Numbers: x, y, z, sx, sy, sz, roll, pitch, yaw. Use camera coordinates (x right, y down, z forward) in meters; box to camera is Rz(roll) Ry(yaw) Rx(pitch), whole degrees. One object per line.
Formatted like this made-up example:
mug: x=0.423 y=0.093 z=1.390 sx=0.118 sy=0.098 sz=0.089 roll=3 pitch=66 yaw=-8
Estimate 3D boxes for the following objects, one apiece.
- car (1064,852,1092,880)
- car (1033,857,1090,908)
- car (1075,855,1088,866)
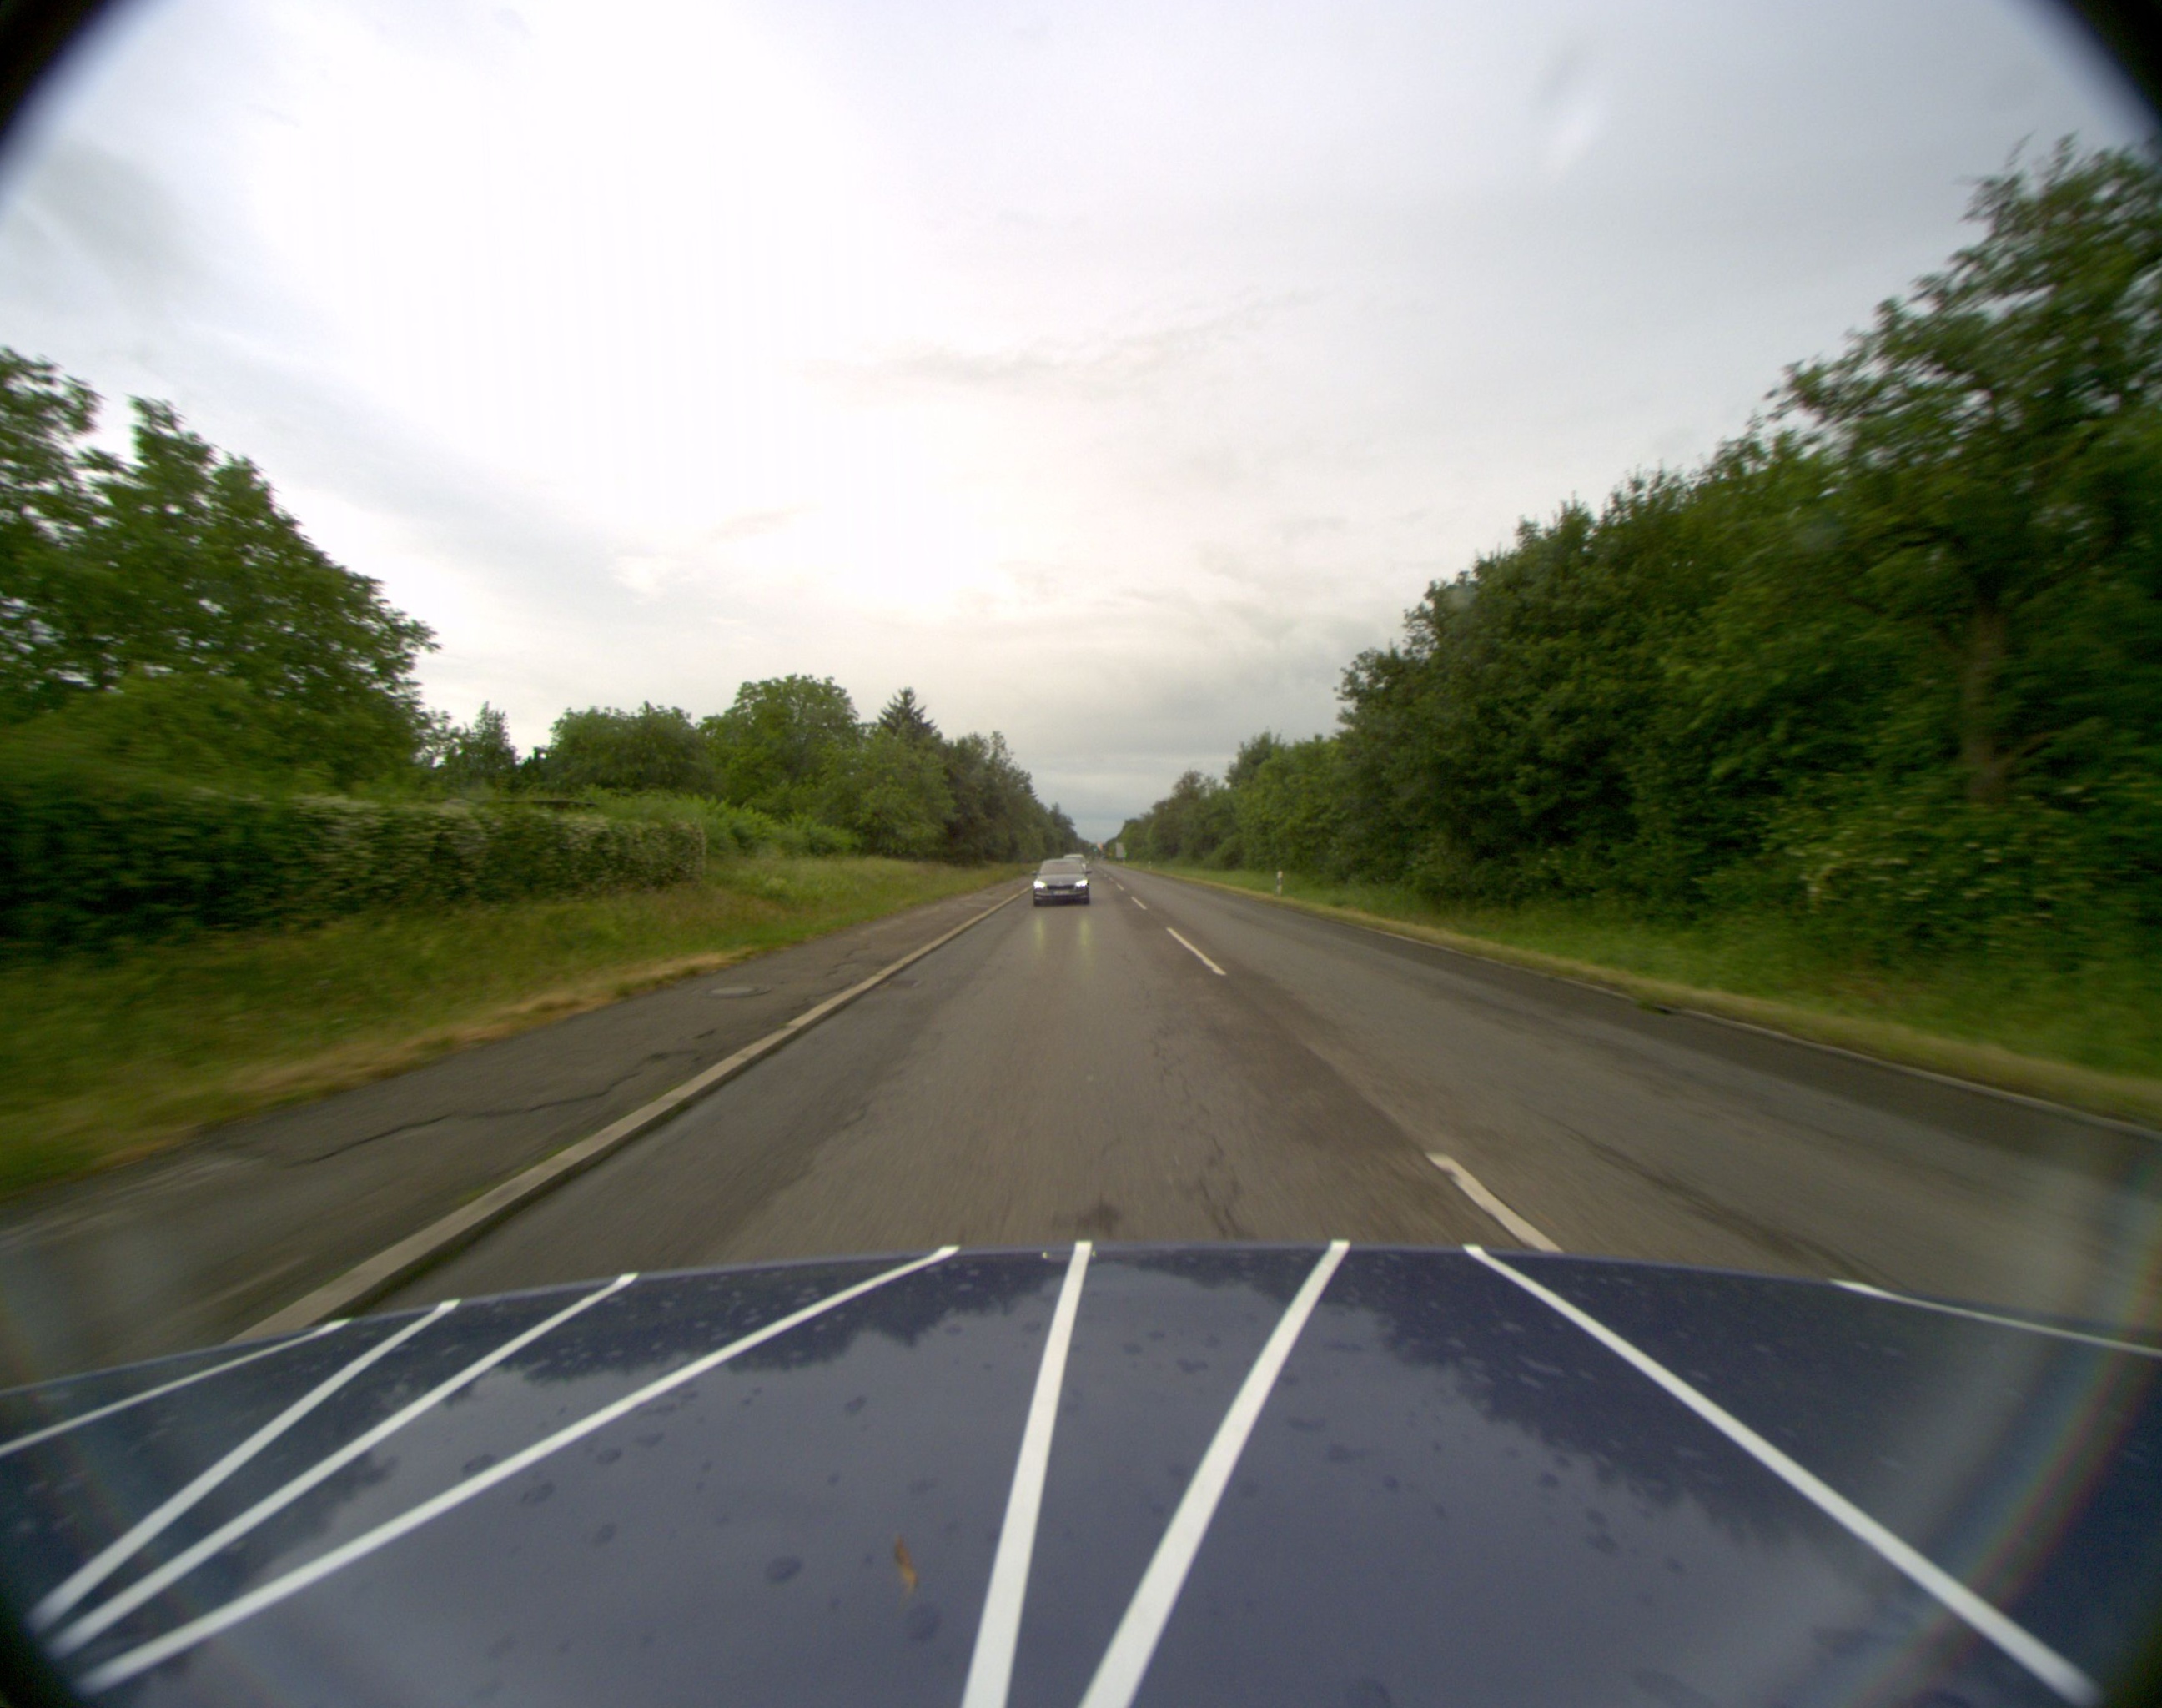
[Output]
car: x=-0.216 y=0.747 z=49.153 sx=1.704 sy=1.723 sz=3.999 roll=-1 pitch=0 yaw=-1
car: x=-0.580 y=0.894 z=25.295 sx=1.675 sy=1.477 sz=4.215 roll=-3 pitch=-1 yaw=0
car: x=0.023 y=0.947 z=114.089 sx=1.856 sy=1.686 sz=4.000 roll=1 pitch=0 yaw=1
